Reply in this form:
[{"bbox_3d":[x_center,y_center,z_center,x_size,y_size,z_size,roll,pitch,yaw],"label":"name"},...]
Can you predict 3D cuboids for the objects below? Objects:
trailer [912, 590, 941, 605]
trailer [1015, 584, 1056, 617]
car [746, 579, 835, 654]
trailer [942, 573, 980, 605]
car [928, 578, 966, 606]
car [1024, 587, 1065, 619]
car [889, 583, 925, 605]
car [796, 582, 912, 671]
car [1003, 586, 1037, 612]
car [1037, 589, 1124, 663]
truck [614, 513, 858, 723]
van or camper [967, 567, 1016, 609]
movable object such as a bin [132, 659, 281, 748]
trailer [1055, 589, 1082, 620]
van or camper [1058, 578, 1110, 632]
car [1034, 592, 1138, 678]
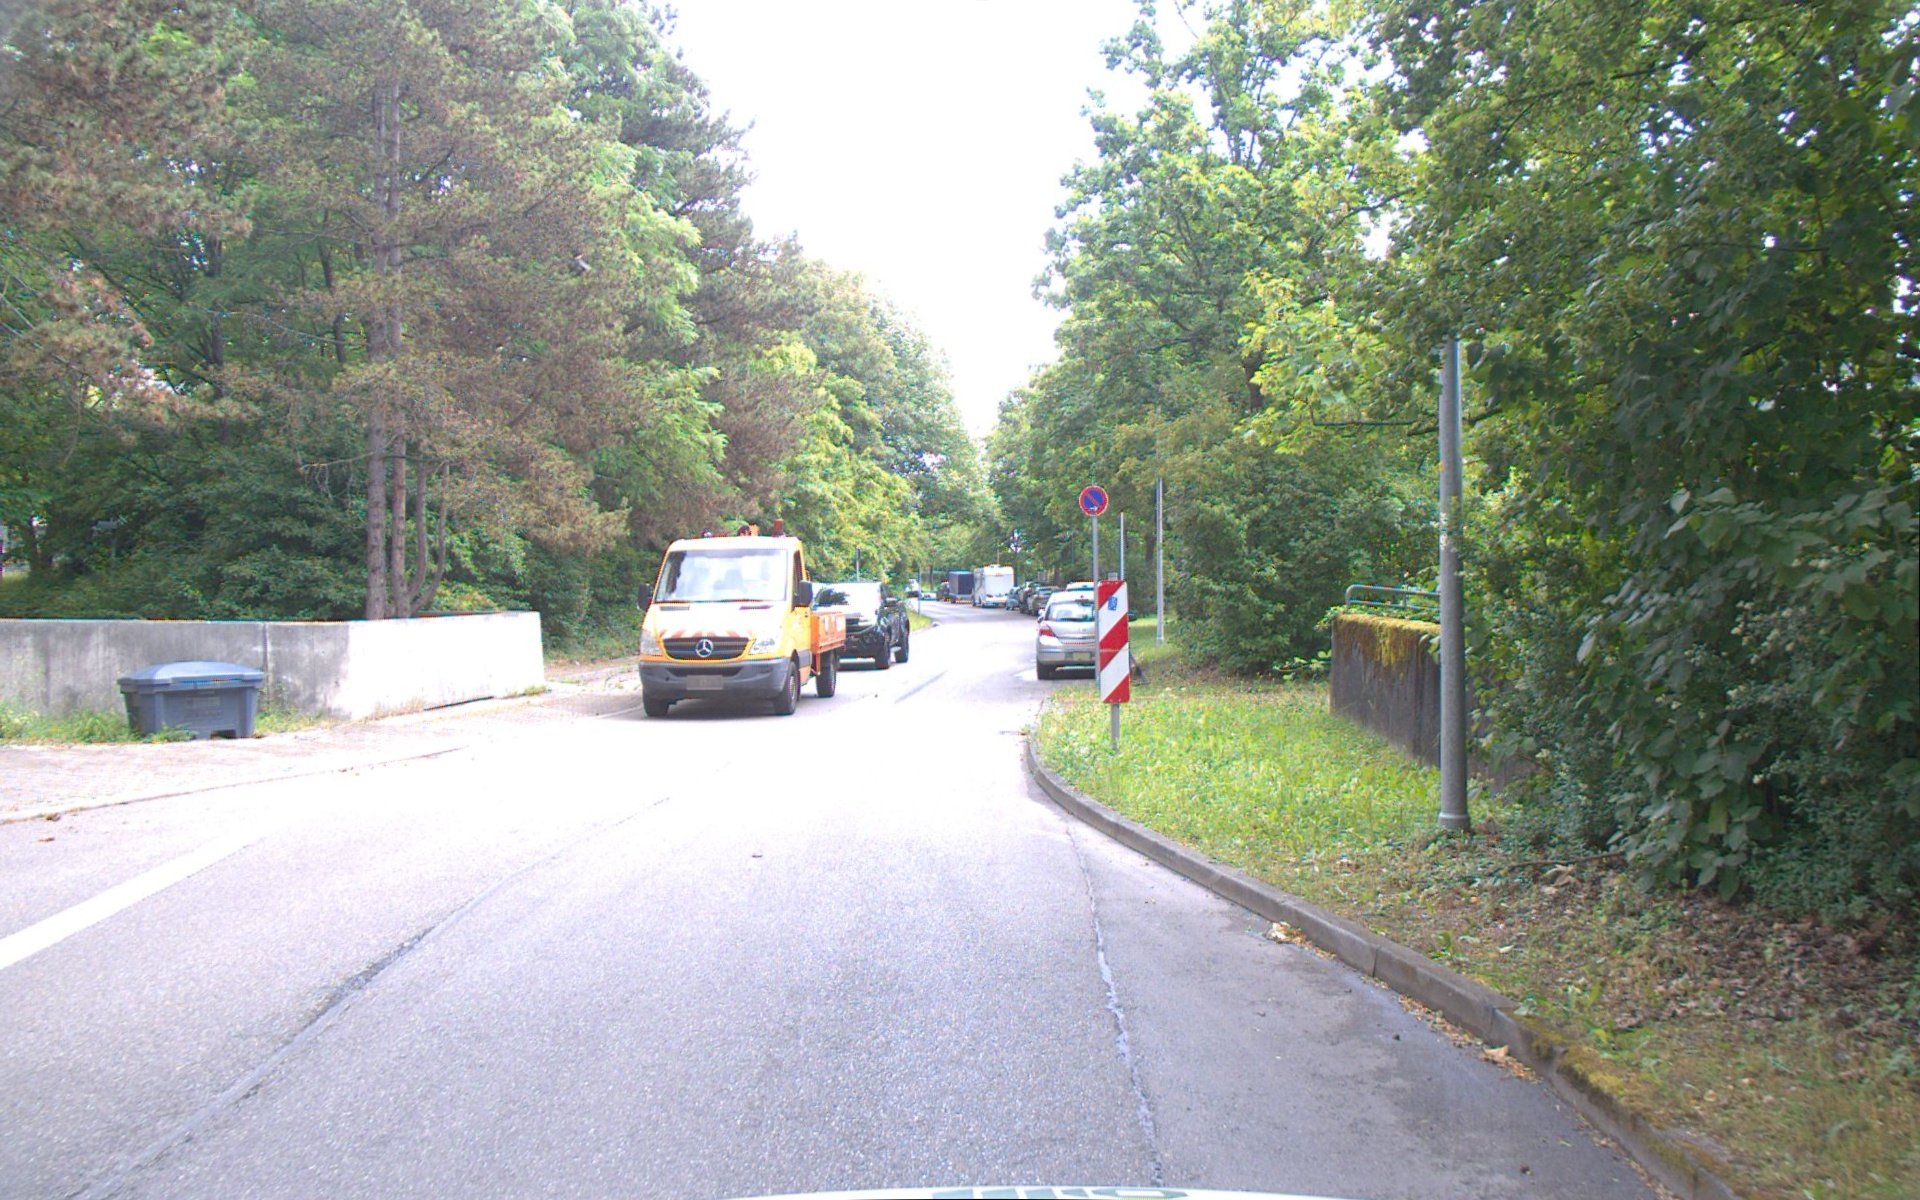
[{"bbox_3d":[-2.870,-0.238,141.365,1.624,1.105,3.986,-4,2,-14],"label":"trailer"},{"bbox_3d":[4.618,0.001,101.950,1.940,1.843,5.145,-2,1,-4],"label":"trailer"},{"bbox_3d":[-4.714,0.420,46.432,1.684,1.955,4.107,1,1,5],"label":"car"},{"bbox_3d":[0.069,-0.870,132.239,1.961,2.440,3.983,-1,1,-16],"label":"trailer"},{"bbox_3d":[-1.098,-0.665,137.612,1.962,2.060,3.982,-4,3,-17],"label":"car"},{"bbox_3d":[4.873,0.185,95.794,1.757,1.699,4.496,-2,-1,-5],"label":"car"},{"bbox_3d":[-4.876,-0.562,150.445,2.006,1.835,4.057,-2,1,-21],"label":"car"},{"bbox_3d":[-2.225,0.544,36.109,1.952,1.766,5.338,-1,0,2],"label":"car"},{"bbox_3d":[4.022,-0.067,111.301,1.765,1.589,3.830,-2,1,-6],"label":"car"},{"bbox_3d":[2.742,0.549,38.039,1.846,1.533,5.178,-1,0,4],"label":"car"},{"bbox_3d":[-2.917,0.185,23.159,2.274,2.513,6.023,1,1,3],"label":"truck"},{"bbox_3d":[2.275,-0.896,121.679,2.436,2.926,6.877,-1,0,-8],"label":"van or camper"},{"bbox_3d":[-7.149,0.961,15.679,1.134,0.773,1.037,2,-1,-34],"label":"movable object such as a bin"},{"bbox_3d":[5.842,0.237,89.360,1.252,1.612,2.460,-1,0,-1],"label":"trailer"},{"bbox_3d":[4.424,0.215,59.510,1.764,1.870,4.322,-1,-1,3],"label":"van or camper"},{"bbox_3d":[2.346,0.599,30.601,1.755,1.435,4.061,-2,0,5],"label":"car"}]
